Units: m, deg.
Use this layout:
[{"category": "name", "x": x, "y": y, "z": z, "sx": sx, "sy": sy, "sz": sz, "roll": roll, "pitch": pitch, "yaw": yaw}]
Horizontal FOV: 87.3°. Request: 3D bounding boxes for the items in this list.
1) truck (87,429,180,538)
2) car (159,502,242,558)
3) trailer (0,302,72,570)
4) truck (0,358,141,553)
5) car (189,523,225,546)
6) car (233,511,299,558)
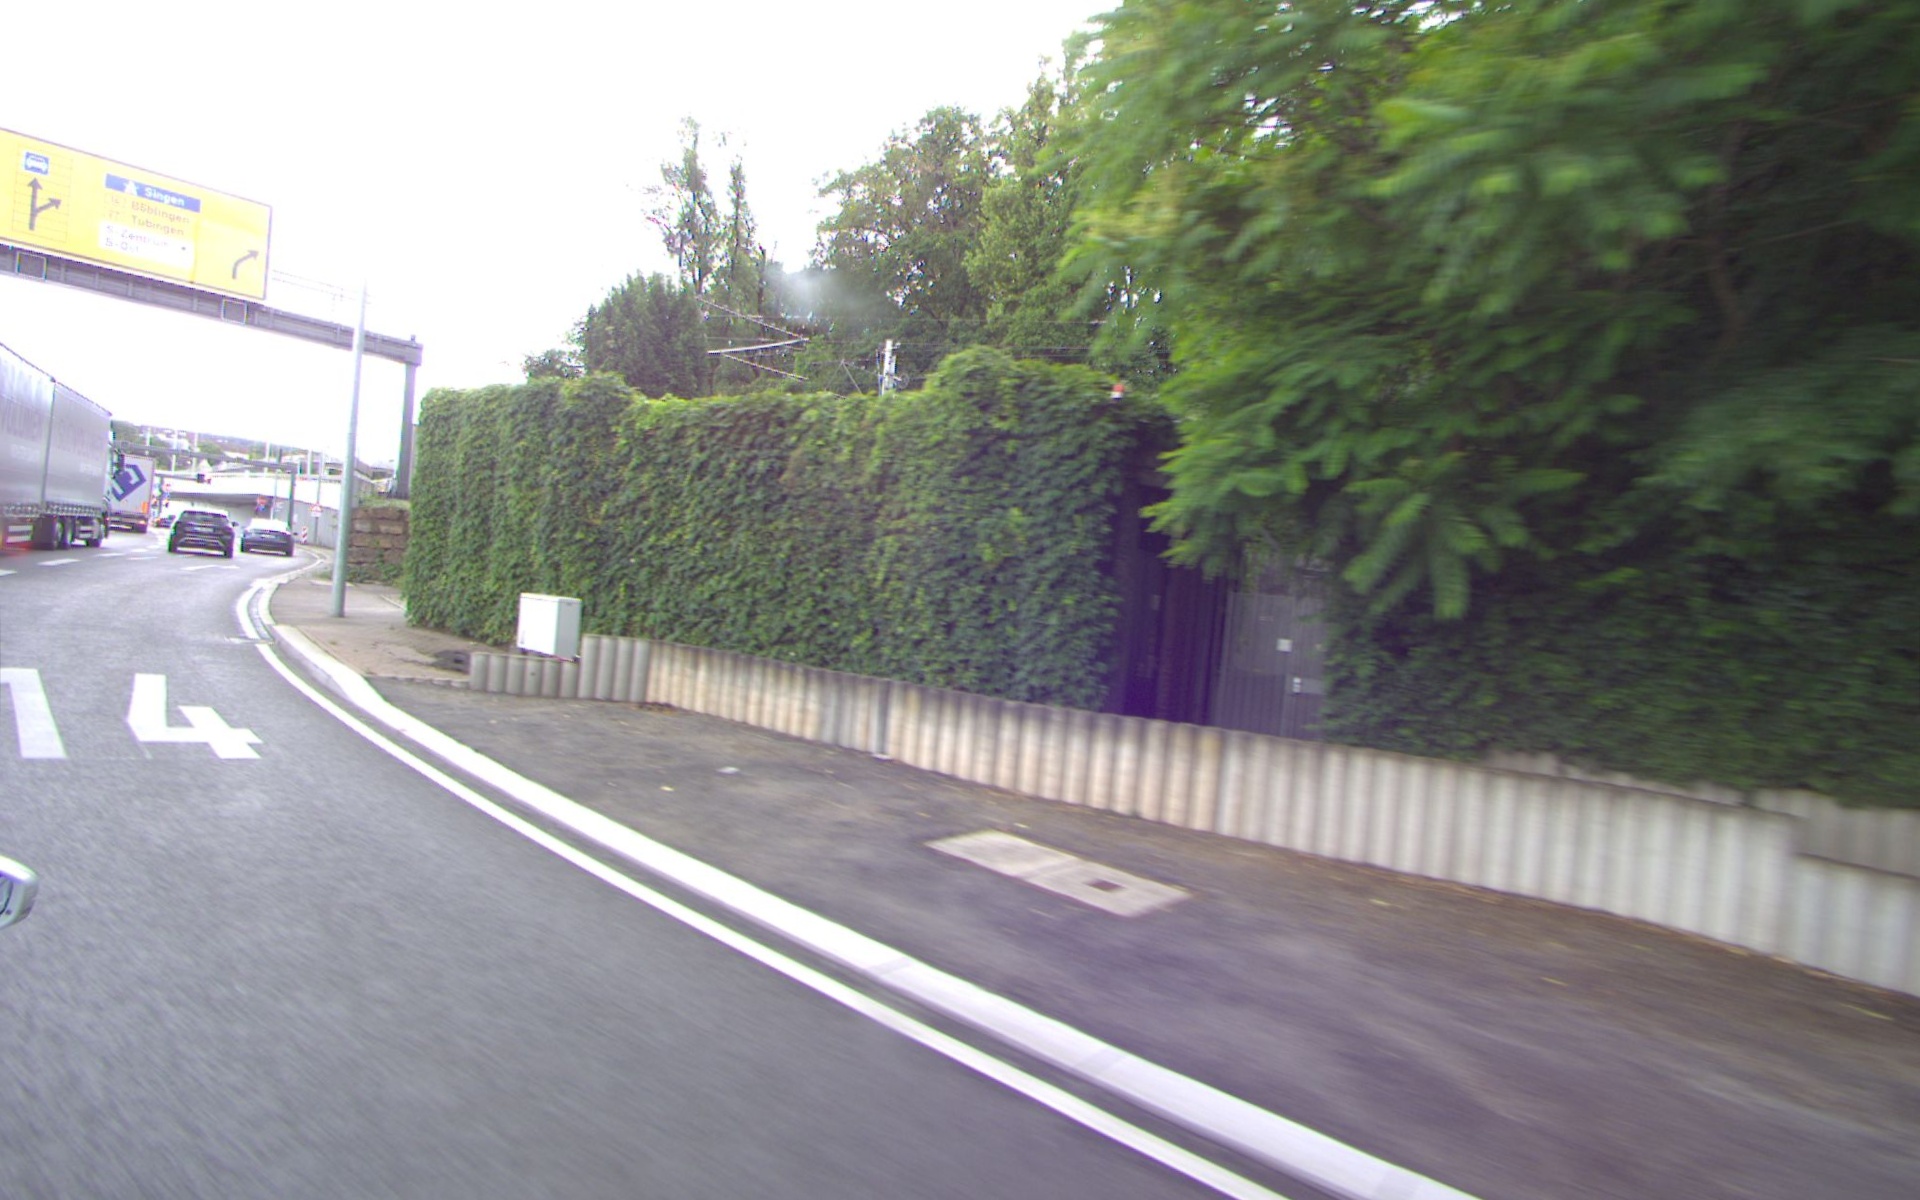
[{"category": "truck", "x": -44.337, "y": -6.042, "z": 53.962, "sx": 3.054, "sy": 4.856, "sz": 9.056, "roll": 10, "pitch": -3, "yaw": -40}, {"category": "car", "x": -25.804, "y": -2.347, "z": 34.145, "sx": 1.886, "sy": 1.537, "sz": 3.956, "roll": 8, "pitch": -2, "yaw": -41}, {"category": "trailer", "x": -18.947, "y": -2.917, "z": 17.744, "sx": 3.705, "sy": 4.192, "sz": 10.872, "roll": 7, "pitch": -1, "yaw": -37}, {"category": "truck", "x": -25.019, "y": -3.658, "z": 26.596, "sx": 3.700, "sy": 4.192, "sz": 10.887, "roll": 7, "pitch": -1, "yaw": -33}, {"category": "car", "x": -74.763, "y": -6.481, "z": 99.907, "sx": 1.976, "sy": 1.870, "sz": 3.975, "roll": 8, "pitch": -1, "yaw": -26}, {"category": "car", "x": -29.902, "y": -2.821, "z": 43.316, "sx": 1.885, "sy": 1.645, "sz": 3.957, "roll": 8, "pitch": -1, "yaw": -39}]
